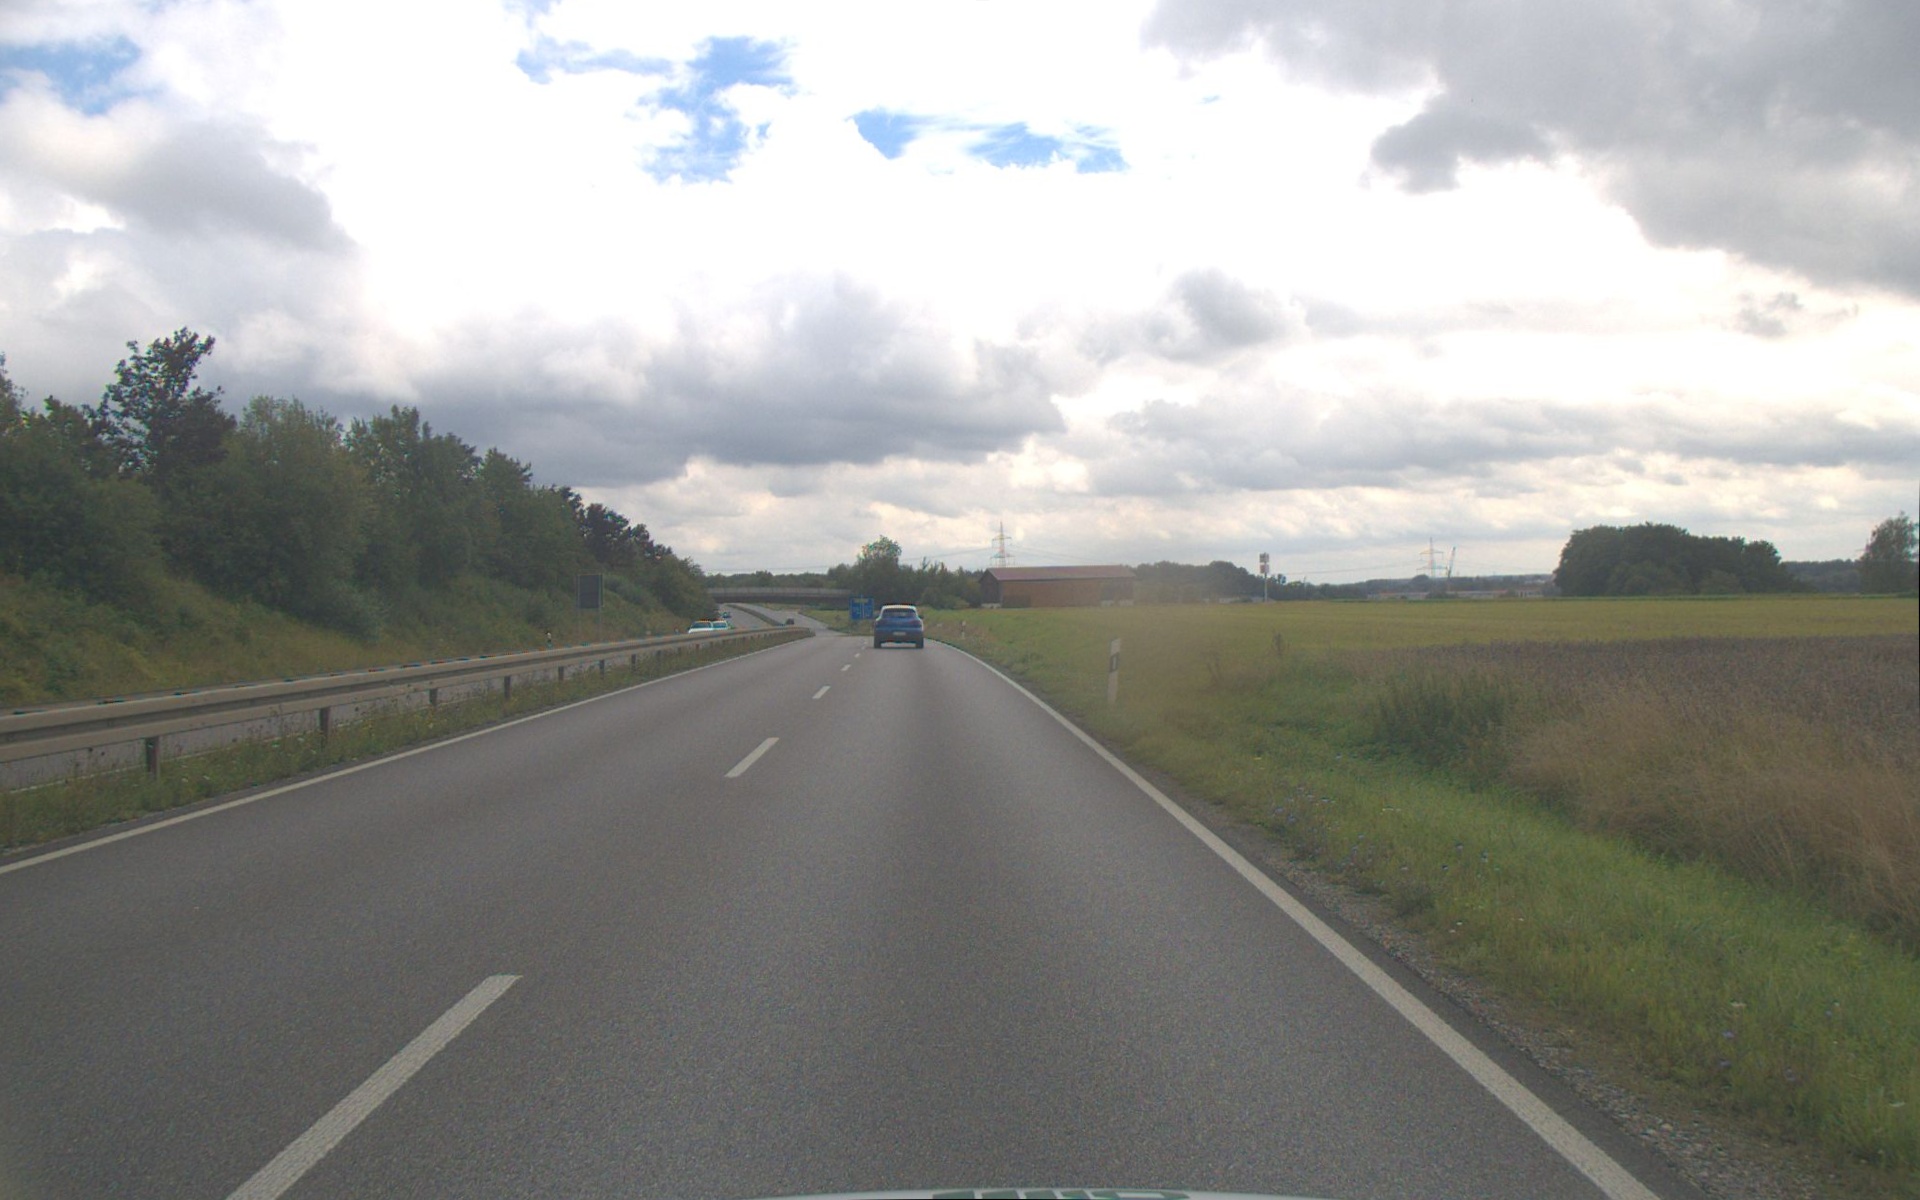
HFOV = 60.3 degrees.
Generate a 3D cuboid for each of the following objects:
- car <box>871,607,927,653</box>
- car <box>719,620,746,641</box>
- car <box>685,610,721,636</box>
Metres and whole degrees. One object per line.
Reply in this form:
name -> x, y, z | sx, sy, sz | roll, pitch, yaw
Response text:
car -> -2.335, 1.128, 64.225 | 1.991, 1.689, 4.543 | 0, 0, 0
car -> -18.458, 2.462, 134.391 | 1.883, 1.544, 4.460 | -1, 1, -4
car -> -17.824, 1.588, 114.944 | 1.954, 1.544, 4.986 | -1, 1, -3
